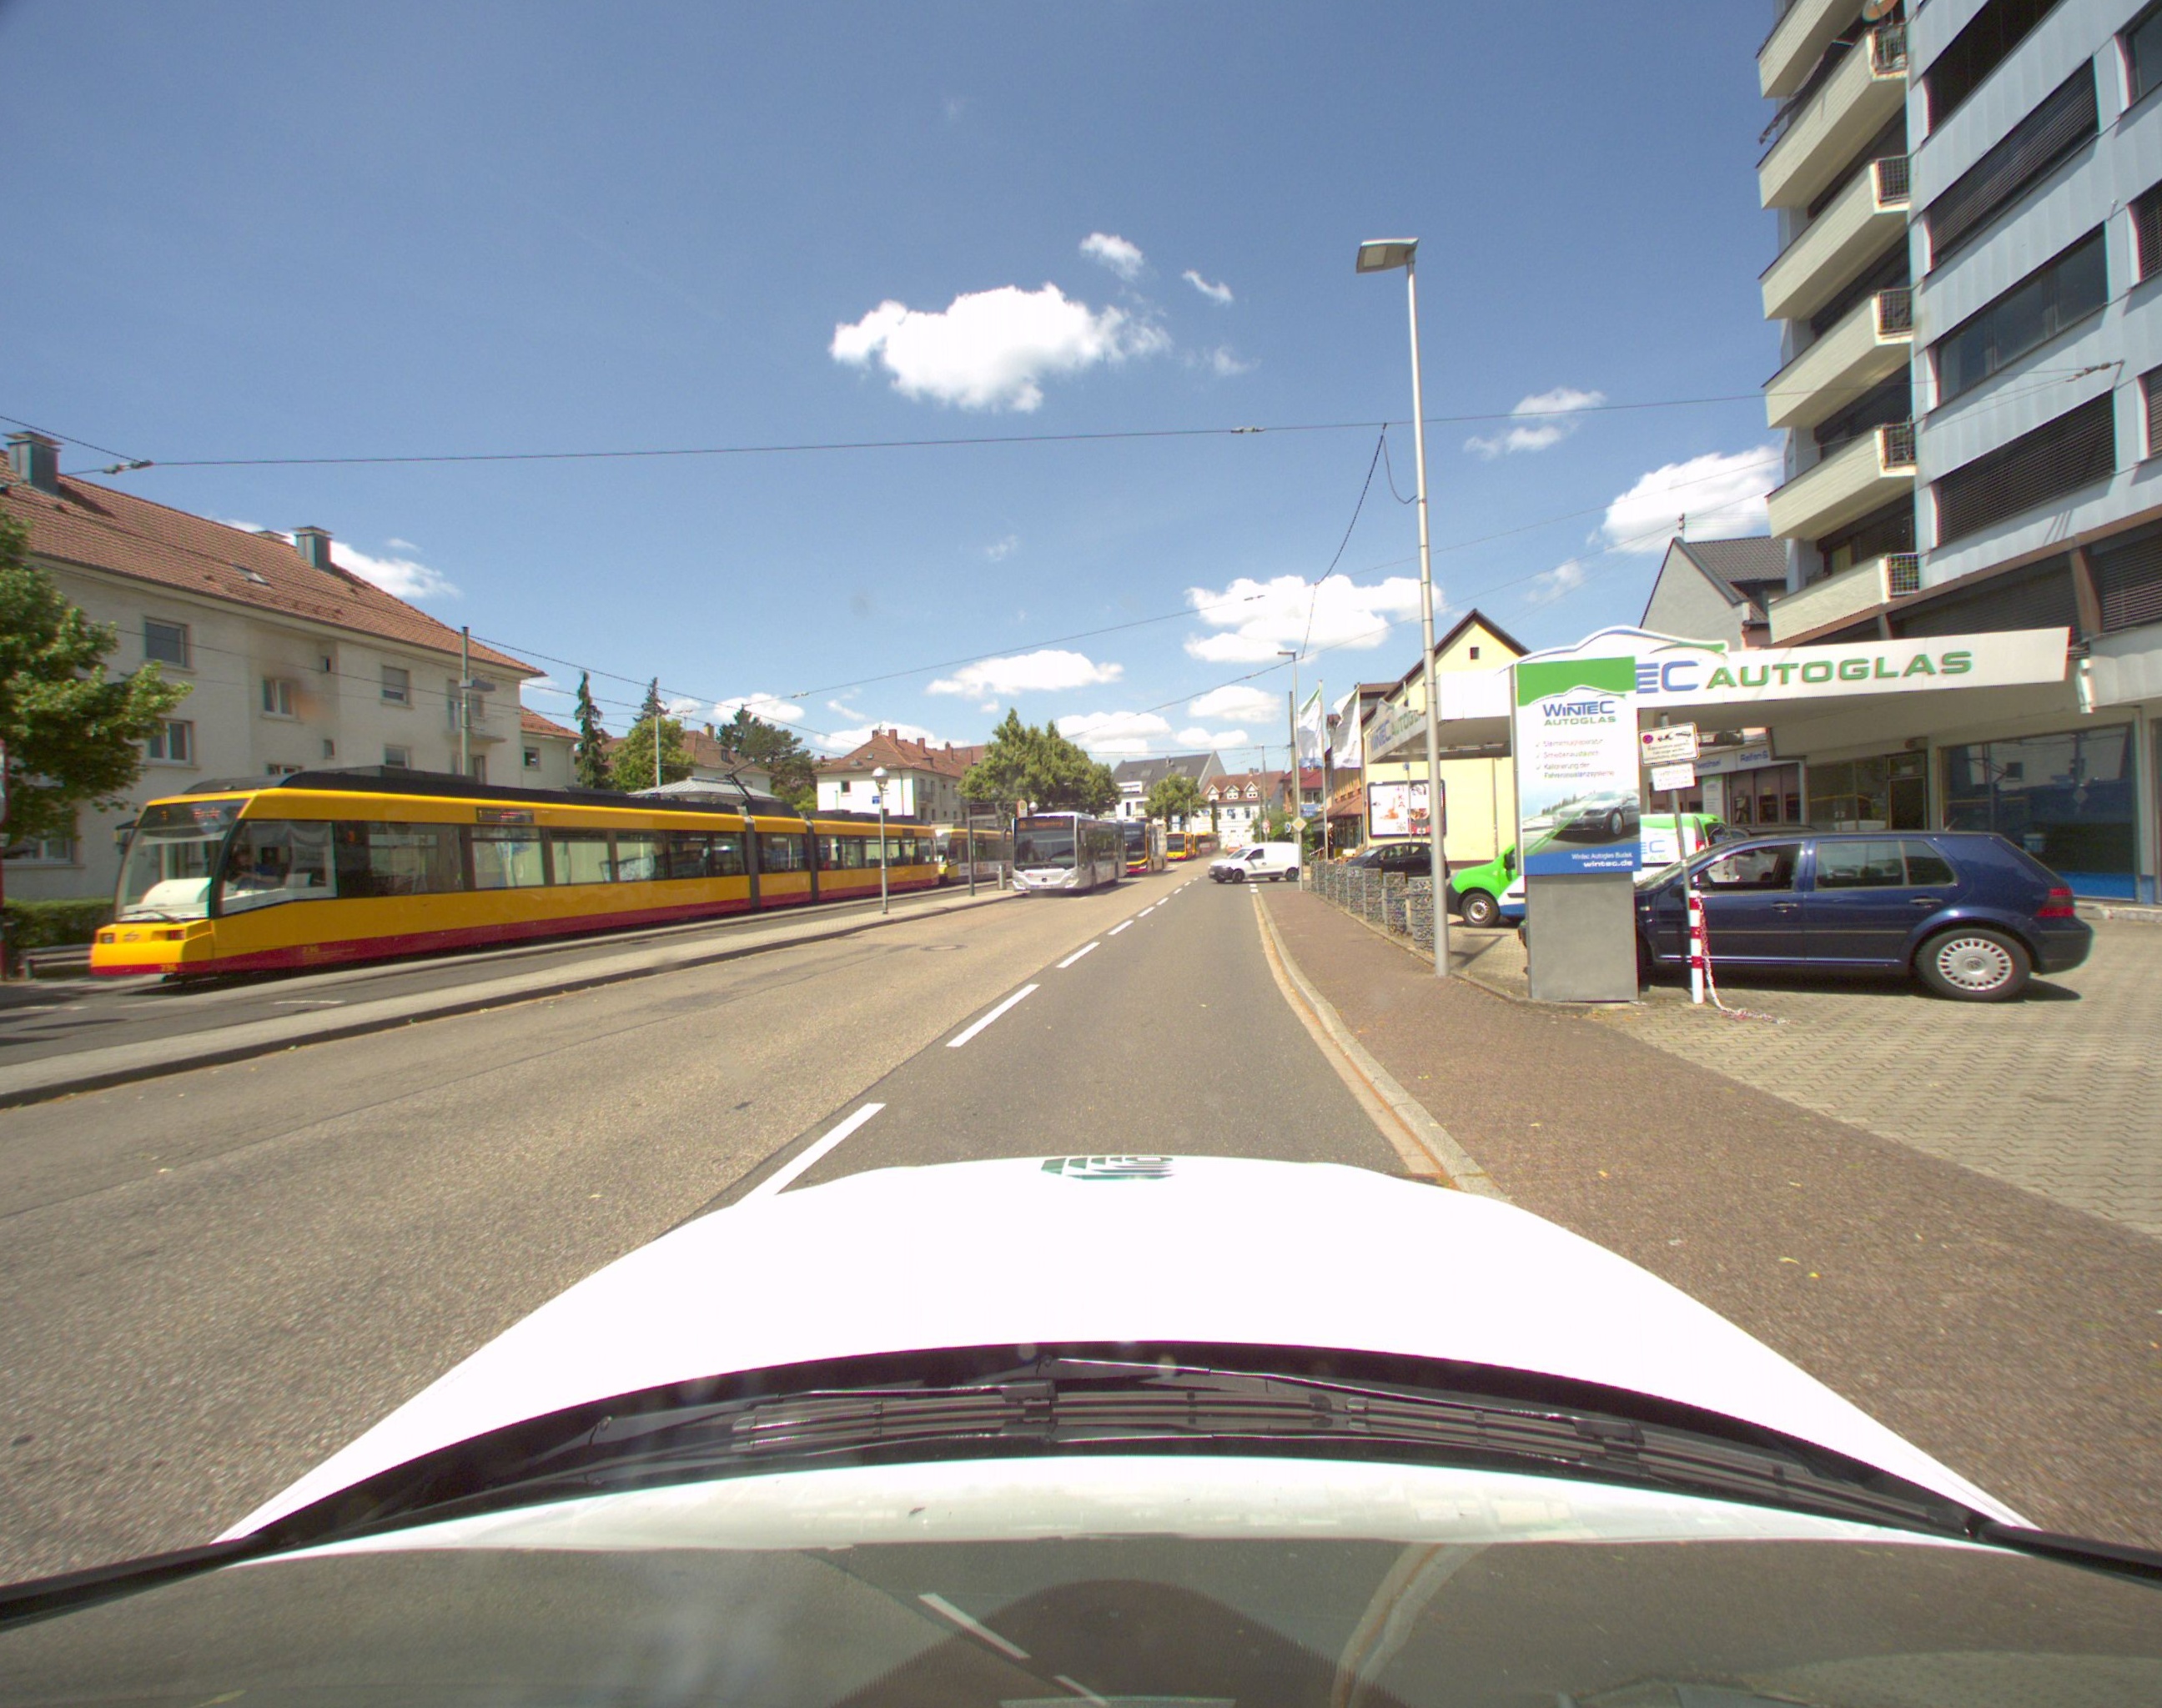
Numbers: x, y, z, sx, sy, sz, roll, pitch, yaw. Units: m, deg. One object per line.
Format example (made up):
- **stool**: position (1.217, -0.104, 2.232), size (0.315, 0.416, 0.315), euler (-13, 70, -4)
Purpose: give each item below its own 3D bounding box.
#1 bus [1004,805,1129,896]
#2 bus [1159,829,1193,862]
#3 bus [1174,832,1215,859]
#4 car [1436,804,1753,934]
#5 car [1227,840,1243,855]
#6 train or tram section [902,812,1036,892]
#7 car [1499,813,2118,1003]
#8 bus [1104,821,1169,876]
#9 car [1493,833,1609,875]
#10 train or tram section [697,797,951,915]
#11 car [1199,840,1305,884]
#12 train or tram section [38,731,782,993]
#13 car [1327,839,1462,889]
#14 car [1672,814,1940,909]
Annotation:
- **bus**: position (-0.169, -0.135, 34.422), size (2.713, 3.129, 12.045), euler (-2, 0, 11)
- **bus**: position (10.486, -0.896, 88.773), size (2.713, 3.218, 11.083), euler (-2, 0, 11)
- **bus**: position (14.213, -1.052, 101.415), size (2.611, 3.218, 9.994), euler (-2, 0, 22)
- **car**: position (8.284, 0.243, 13.448), size (1.851, 1.794, 3.979), euler (-2, -1, -38)
- **car**: position (20.675, -0.877, 109.421), size (1.797, 1.981, 4.010), euler (-2, 0, 9)
- **train or tram section**: position (-6.012, -0.129, 48.273), size (2.767, 3.895, 15.600), euler (-2, 0, 11)
- **car**: position (6.603, 0.471, 8.084), size (4.118, 1.439, 1.914), euler (-3, -1, 33)
- **bus**: position (3.861, -0.342, 53.451), size (2.713, 3.129, 12.045), euler (-2, 0, 11)
- **car**: position (21.924, -0.029, 38.135), size (4.281, 1.809, 2.004), euler (-1, 2, 6)
- **train or tram section**: position (-9.163, 0.038, 32.490), size (2.767, 3.568, 14.752), euler (-2, 0, 11)
- **car**: position (7.807, 0.304, 37.272), size (4.315, 1.809, 1.989), euler (-2, 2, -17)
- **train or tram section**: position (-12.023, 0.114, 18.306), size (2.791, 3.568, 14.225), euler (-2, 0, 11)
- **car**: position (10.772, 0.339, 28.181), size (3.918, 1.518, 1.822), euler (-2, -1, -1)
- **car**: position (14.058, 0.144, 16.217), size (1.995, 1.596, 4.300), euler (-2, 0, 10)
